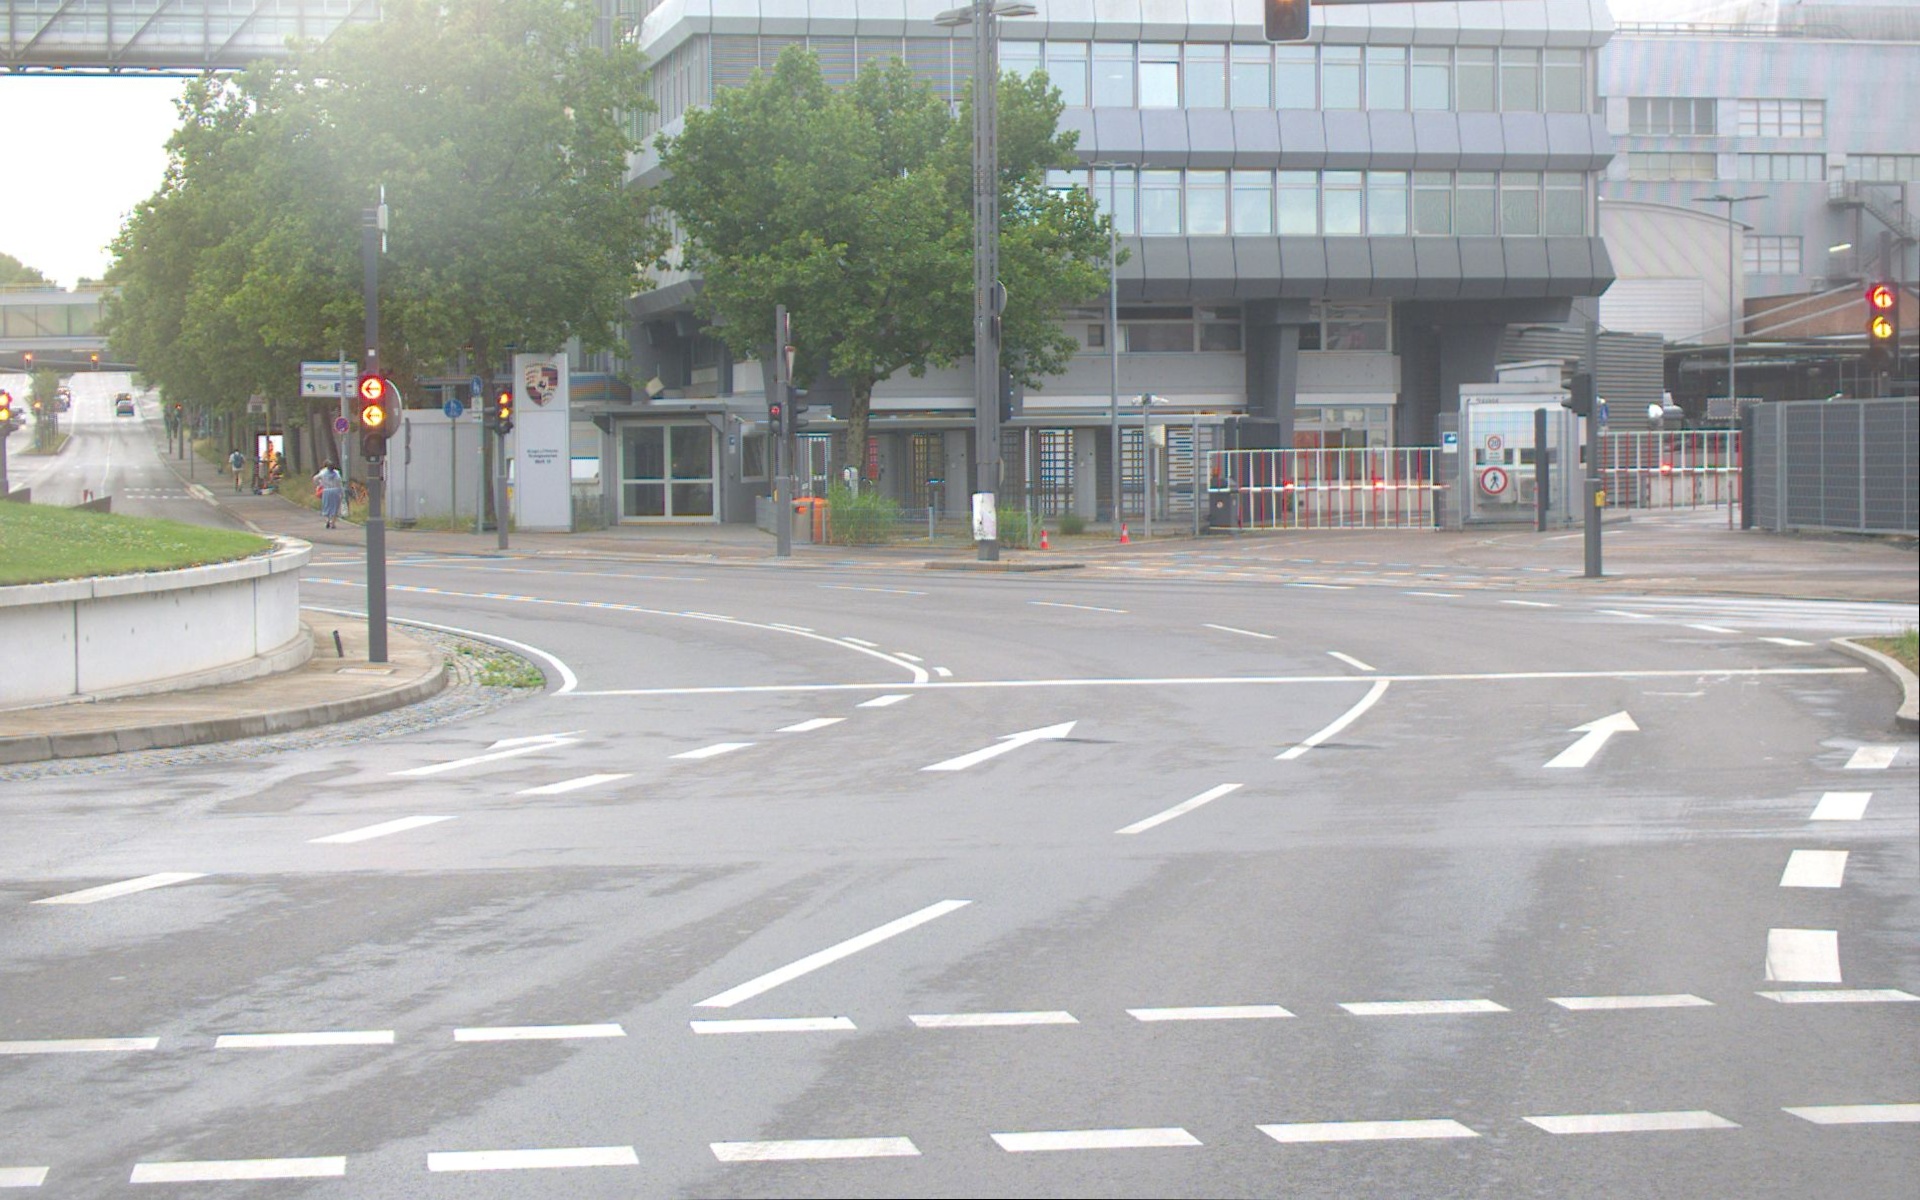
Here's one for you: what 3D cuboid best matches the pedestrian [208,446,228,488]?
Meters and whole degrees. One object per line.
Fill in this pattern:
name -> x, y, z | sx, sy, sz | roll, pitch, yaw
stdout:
pedestrian -> -35.766, -6.417, 165.775 | 0.765, 2.006, 0.692 | 0, 2, 3

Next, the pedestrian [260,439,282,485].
pedestrian -> -26.101, -5.227, 130.208 | 0.757, 1.734, 0.714 | 1, 0, -10

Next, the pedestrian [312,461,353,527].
pedestrian -> -14.566, -2.471, 79.852 | 0.831, 1.515, 0.842 | -1, 3, -5

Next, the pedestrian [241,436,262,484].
pedestrian -> -26.438, -5.221, 128.208 | 0.711, 1.734, 0.760 | 1, 0, -14

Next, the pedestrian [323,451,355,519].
pedestrian -> -14.697, -2.726, 81.361 | 0.709, 1.586, 0.841 | -1, 3, -9
